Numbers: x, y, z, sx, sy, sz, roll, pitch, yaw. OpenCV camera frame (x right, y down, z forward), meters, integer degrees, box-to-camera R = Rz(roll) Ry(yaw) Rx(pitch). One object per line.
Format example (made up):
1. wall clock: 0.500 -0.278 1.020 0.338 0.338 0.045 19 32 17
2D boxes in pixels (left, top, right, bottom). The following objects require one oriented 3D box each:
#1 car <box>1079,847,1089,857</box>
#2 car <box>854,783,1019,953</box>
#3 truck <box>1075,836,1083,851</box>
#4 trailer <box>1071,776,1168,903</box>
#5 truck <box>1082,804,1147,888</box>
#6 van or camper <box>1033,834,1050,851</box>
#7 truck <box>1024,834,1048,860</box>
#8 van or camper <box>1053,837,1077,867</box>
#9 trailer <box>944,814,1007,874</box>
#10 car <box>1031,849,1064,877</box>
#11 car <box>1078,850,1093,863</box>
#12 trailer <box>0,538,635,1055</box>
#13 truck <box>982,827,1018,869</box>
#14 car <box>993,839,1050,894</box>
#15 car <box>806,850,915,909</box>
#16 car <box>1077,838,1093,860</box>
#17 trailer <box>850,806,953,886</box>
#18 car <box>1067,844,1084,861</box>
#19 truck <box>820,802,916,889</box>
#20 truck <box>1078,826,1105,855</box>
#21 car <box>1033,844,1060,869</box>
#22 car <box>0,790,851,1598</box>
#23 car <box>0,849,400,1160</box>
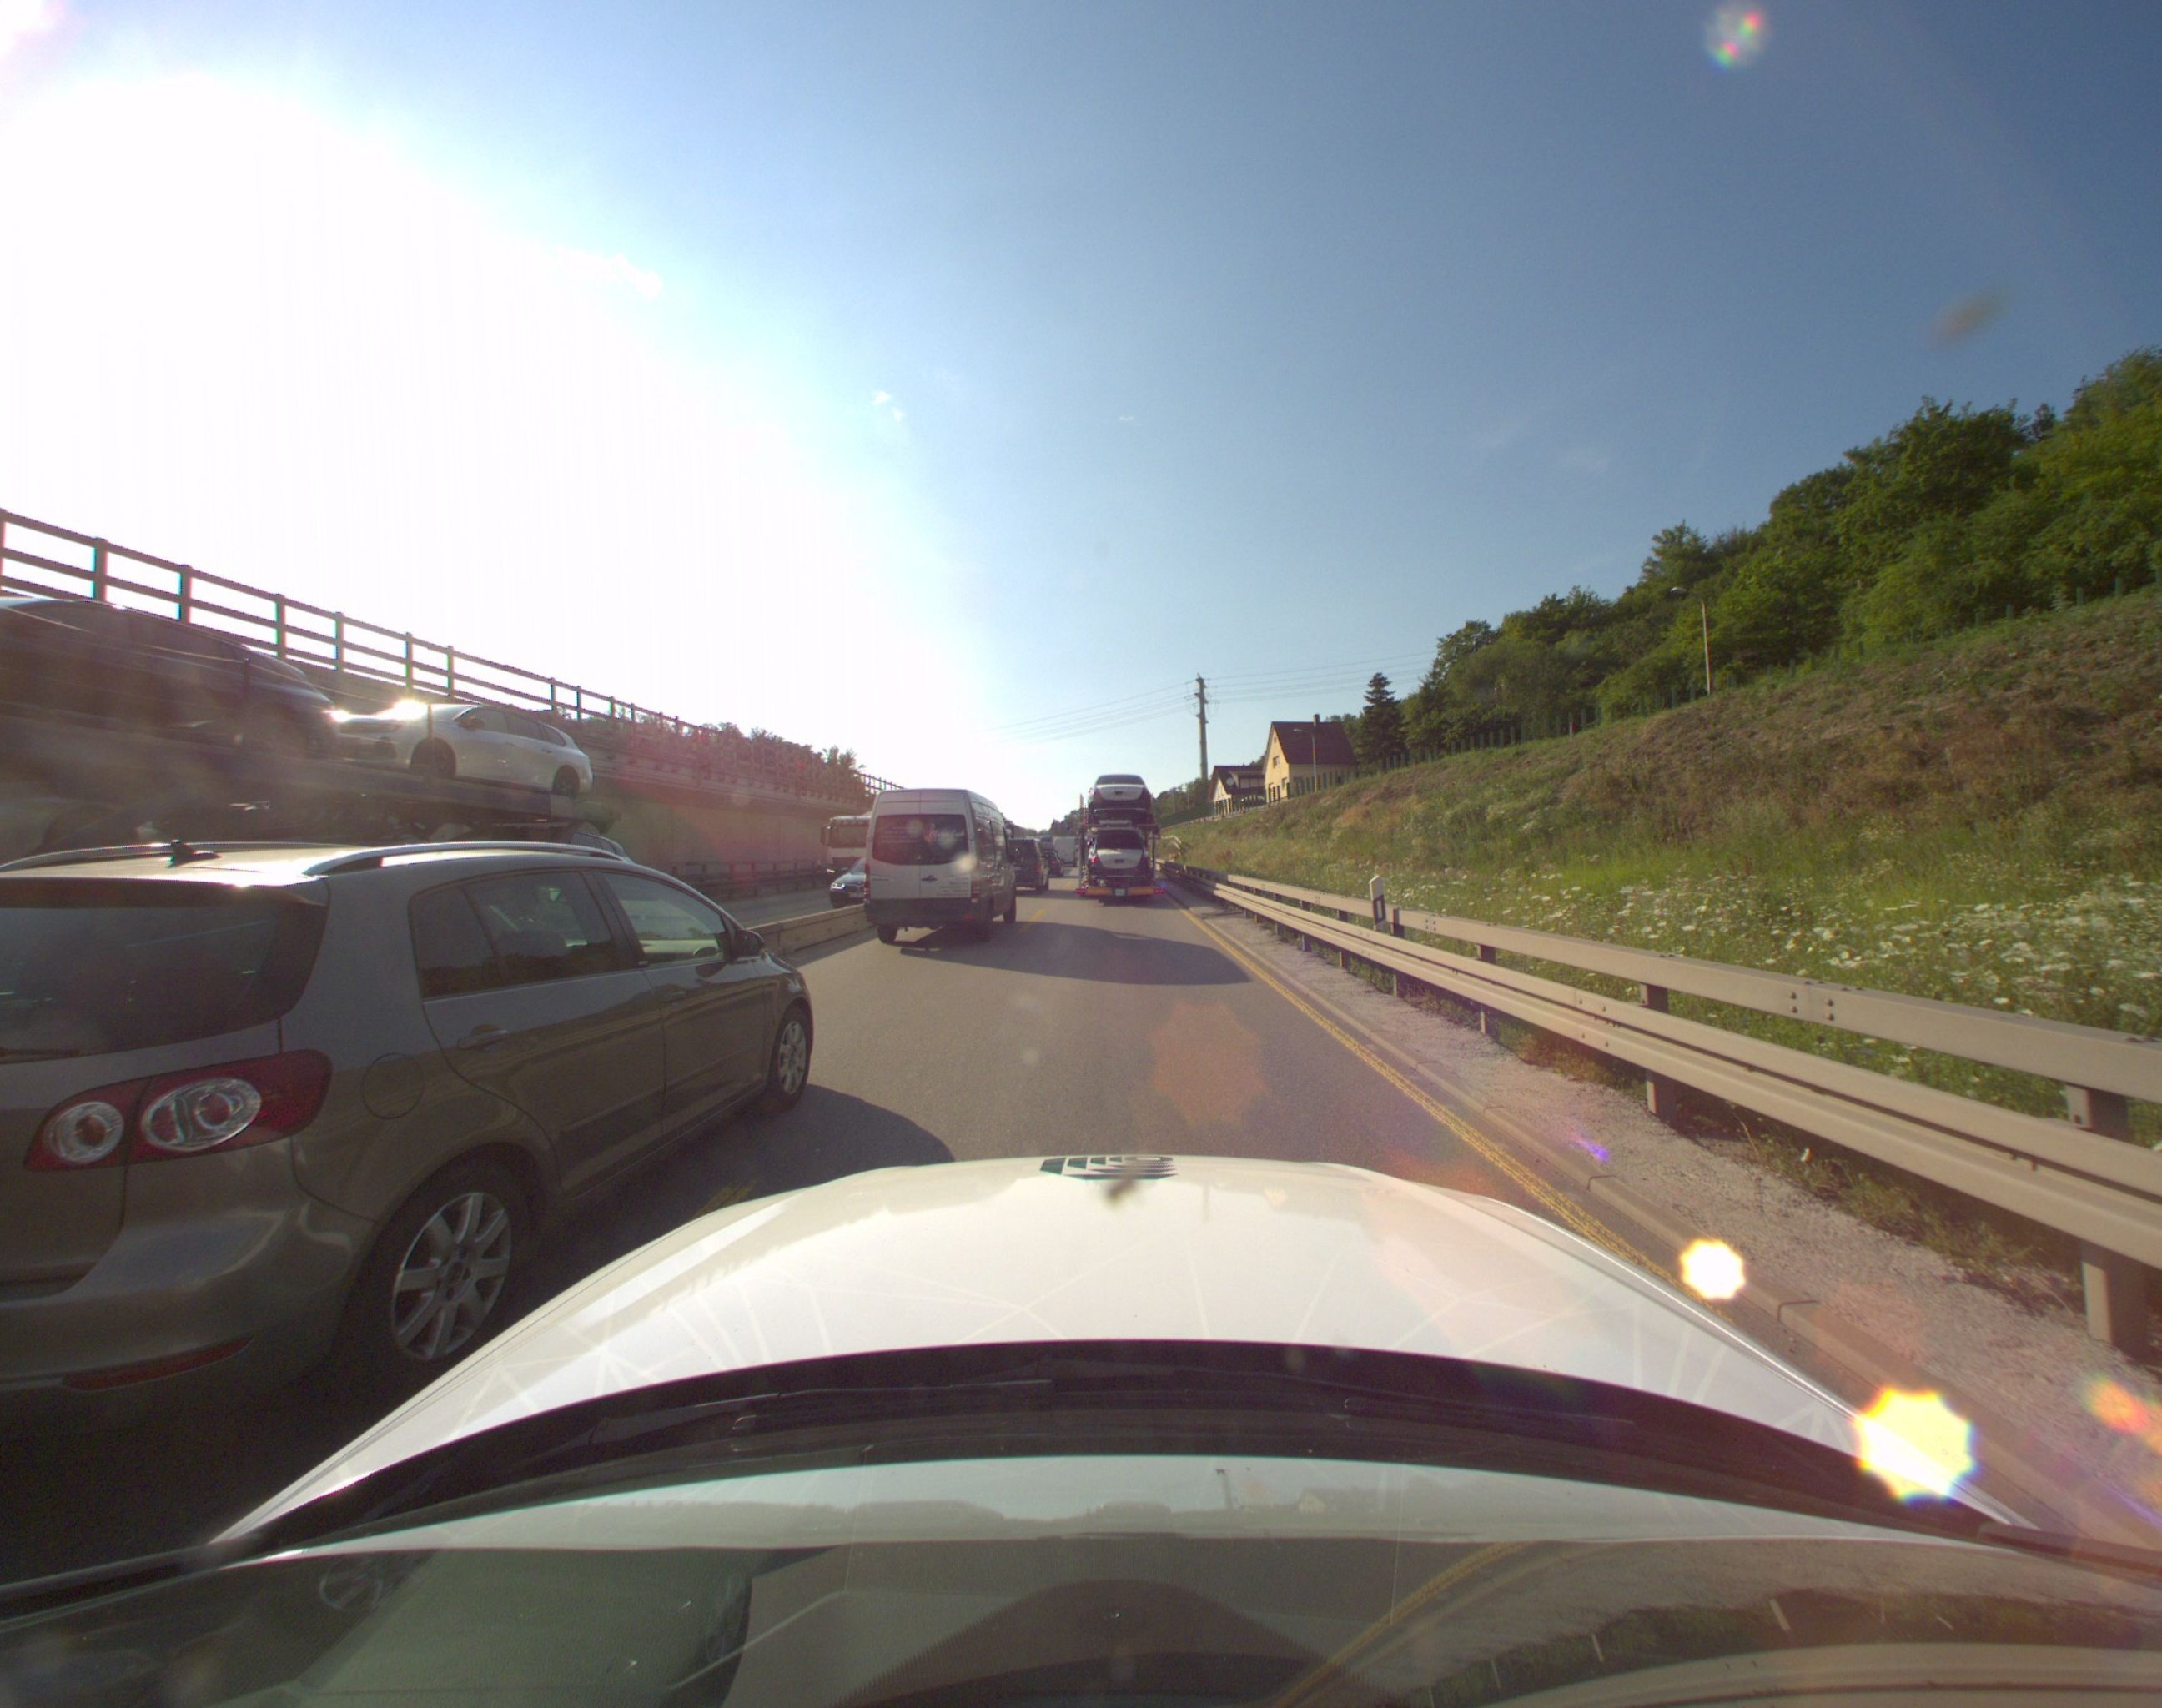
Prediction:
1. car: 0.794 -0.523 230.820 2.761 2.992 5.596 0 0 0
2. car: -2.525 0.195 15.773 1.986 2.648 5.532 -2 0 1
3. truck: -0.540 -3.142 254.546 2.191 4.426 8.226 -2 0 -1
4. trailer: 1.313 -0.365 30.491 2.672 3.534 15.293 -1 0 2
5. truck: 1.523 -0.311 37.996 2.673 3.535 7.196 -1 0 2
6. van or camper: -6.733 -1.931 139.700 2.304 2.662 6.456 -3 0 1
7. truck: -6.290 -0.958 114.663 2.706 3.424 8.141 -4 0 0
8. van or camper: -1.360 -0.139 72.145 1.961 2.591 5.041 0 0 0
9. trailer: -7.903 -0.780 63.339 2.755 4.141 14.029 0 1 1
10. car: -1.899 0.481 47.471 1.720 1.522 3.973 0 0 0
11. car: 0.681 0.315 121.786 1.986 1.860 4.002 -1 0 2
12. trailer: -9.785 -0.434 7.096 2.761 4.031 15.768 0 0 2
13. truck: -7.889 -0.533 79.733 2.850 4.008 5.659 0 -1 1
14. car: -2.133 0.462 30.161 1.802 1.904 3.999 0 -1 0
15. car: -6.291 0.689 23.812 1.759 1.552 4.838 0 0 1
16. car: 0.885 -1.124 188.887 3.436 5.035 9.645 -1 0 -2
17. trailer: -8.797 -0.336 41.441 2.547 3.526 10.685 0 0 2
18. car: -0.660 -0.190 100.584 1.879 2.100 3.766 -1 0 1
19. truck: -9.000 -0.306 34.991 2.539 3.409 5.532 0 -1 1
20. truck: 1.903 -2.182 137.693 4.049 4.679 10.599 -1 0 2
21. car: -3.561 0.273 84.599 2.463 2.534 4.000 -1 0 1
22. car: -2.566 0.714 3.760 1.674 1.588 4.272 -1 -1 1
23. car: -6.358 0.769 4.313 1.750 1.578 4.340 0 0 2
